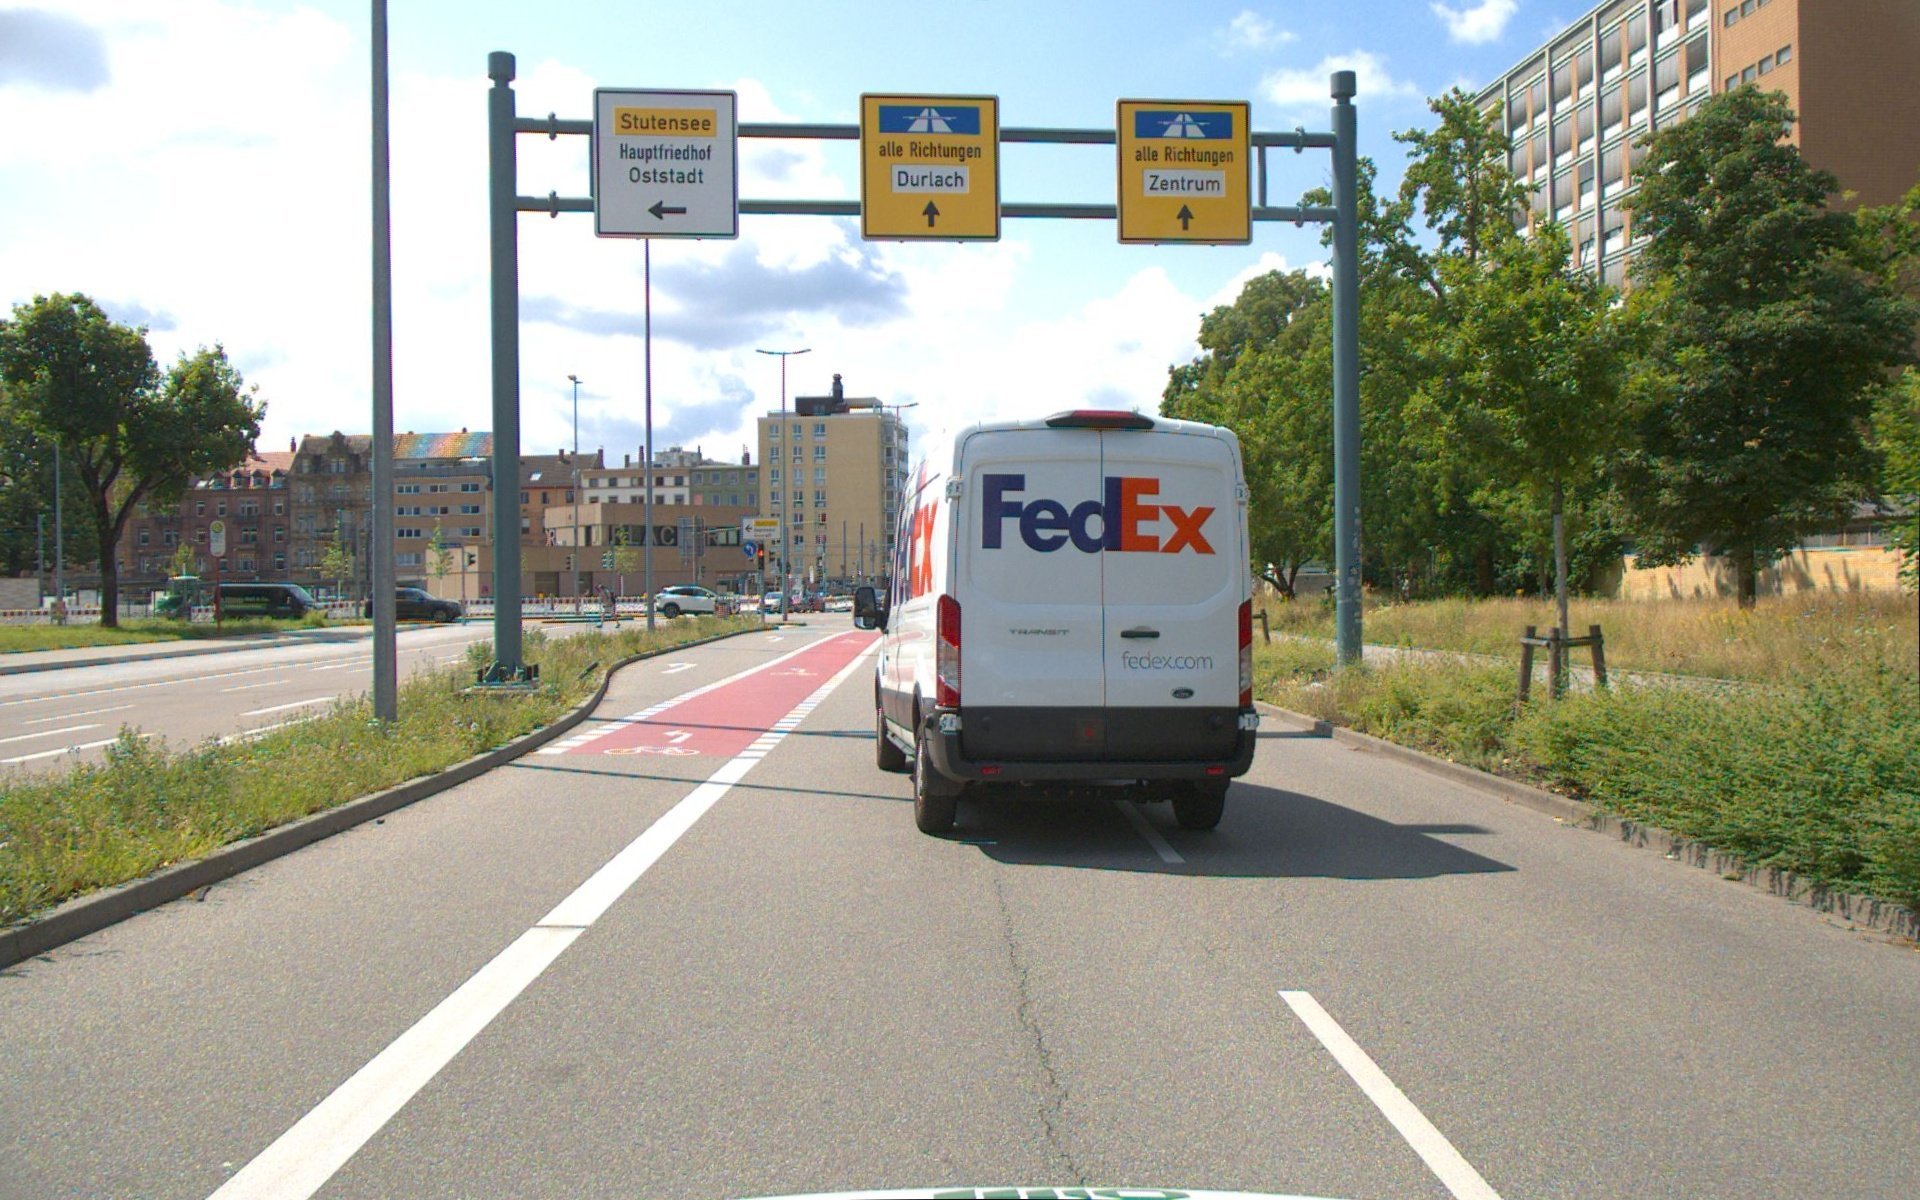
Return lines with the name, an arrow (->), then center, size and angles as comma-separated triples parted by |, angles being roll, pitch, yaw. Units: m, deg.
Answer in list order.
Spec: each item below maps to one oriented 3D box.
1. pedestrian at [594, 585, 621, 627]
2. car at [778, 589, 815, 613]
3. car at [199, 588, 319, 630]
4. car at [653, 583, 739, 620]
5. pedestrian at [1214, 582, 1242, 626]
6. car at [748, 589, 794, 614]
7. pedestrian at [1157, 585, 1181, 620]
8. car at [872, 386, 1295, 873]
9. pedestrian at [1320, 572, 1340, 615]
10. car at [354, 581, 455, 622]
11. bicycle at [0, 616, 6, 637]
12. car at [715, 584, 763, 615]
pedestrian -> -13.685, 0.232, 64.289 | 0.866, 1.587, 0.548 | -1, 0, -37
car -> -11.620, 0.095, 117.890 | 1.839, 1.680, 4.003 | -1, 0, 6
car -> -33.408, 0.427, 78.922 | 4.911, 1.911, 1.927 | -1, 1, -6
car -> -13.649, 0.078, 85.787 | 4.274, 1.825, 1.997 | -1, 0, -7
pedestrian -> 9.577, 0.146, 59.214 | 0.828, 1.566, 0.835 | -1, 0, -2
car -> -12.735, 0.091, 111.660 | 1.860, 1.613, 4.003 | -1, 0, 12
pedestrian -> 8.411, 0.091, 66.584 | 0.828, 1.413, 0.740 | -1, 0, -2
car -> 0.558, 0.122, 12.115 | 2.099, 2.699, 5.697 | -1, 1, -6
pedestrian -> 18.433, -0.319, 82.359 | 0.828, 2.094, 0.740 | 0, 0, 26
car -> -28.369, 0.077, 84.610 | 4.540, 2.049, 2.097 | -1, 0, -7
bicycle -> -47.650, 1.299, 80.656 | 1.885, 1.048, 0.547 | -1, 0, -9
car -> -14.998, -0.008, 112.205 | 1.951, 2.049, 4.003 | -1, 0, 12
